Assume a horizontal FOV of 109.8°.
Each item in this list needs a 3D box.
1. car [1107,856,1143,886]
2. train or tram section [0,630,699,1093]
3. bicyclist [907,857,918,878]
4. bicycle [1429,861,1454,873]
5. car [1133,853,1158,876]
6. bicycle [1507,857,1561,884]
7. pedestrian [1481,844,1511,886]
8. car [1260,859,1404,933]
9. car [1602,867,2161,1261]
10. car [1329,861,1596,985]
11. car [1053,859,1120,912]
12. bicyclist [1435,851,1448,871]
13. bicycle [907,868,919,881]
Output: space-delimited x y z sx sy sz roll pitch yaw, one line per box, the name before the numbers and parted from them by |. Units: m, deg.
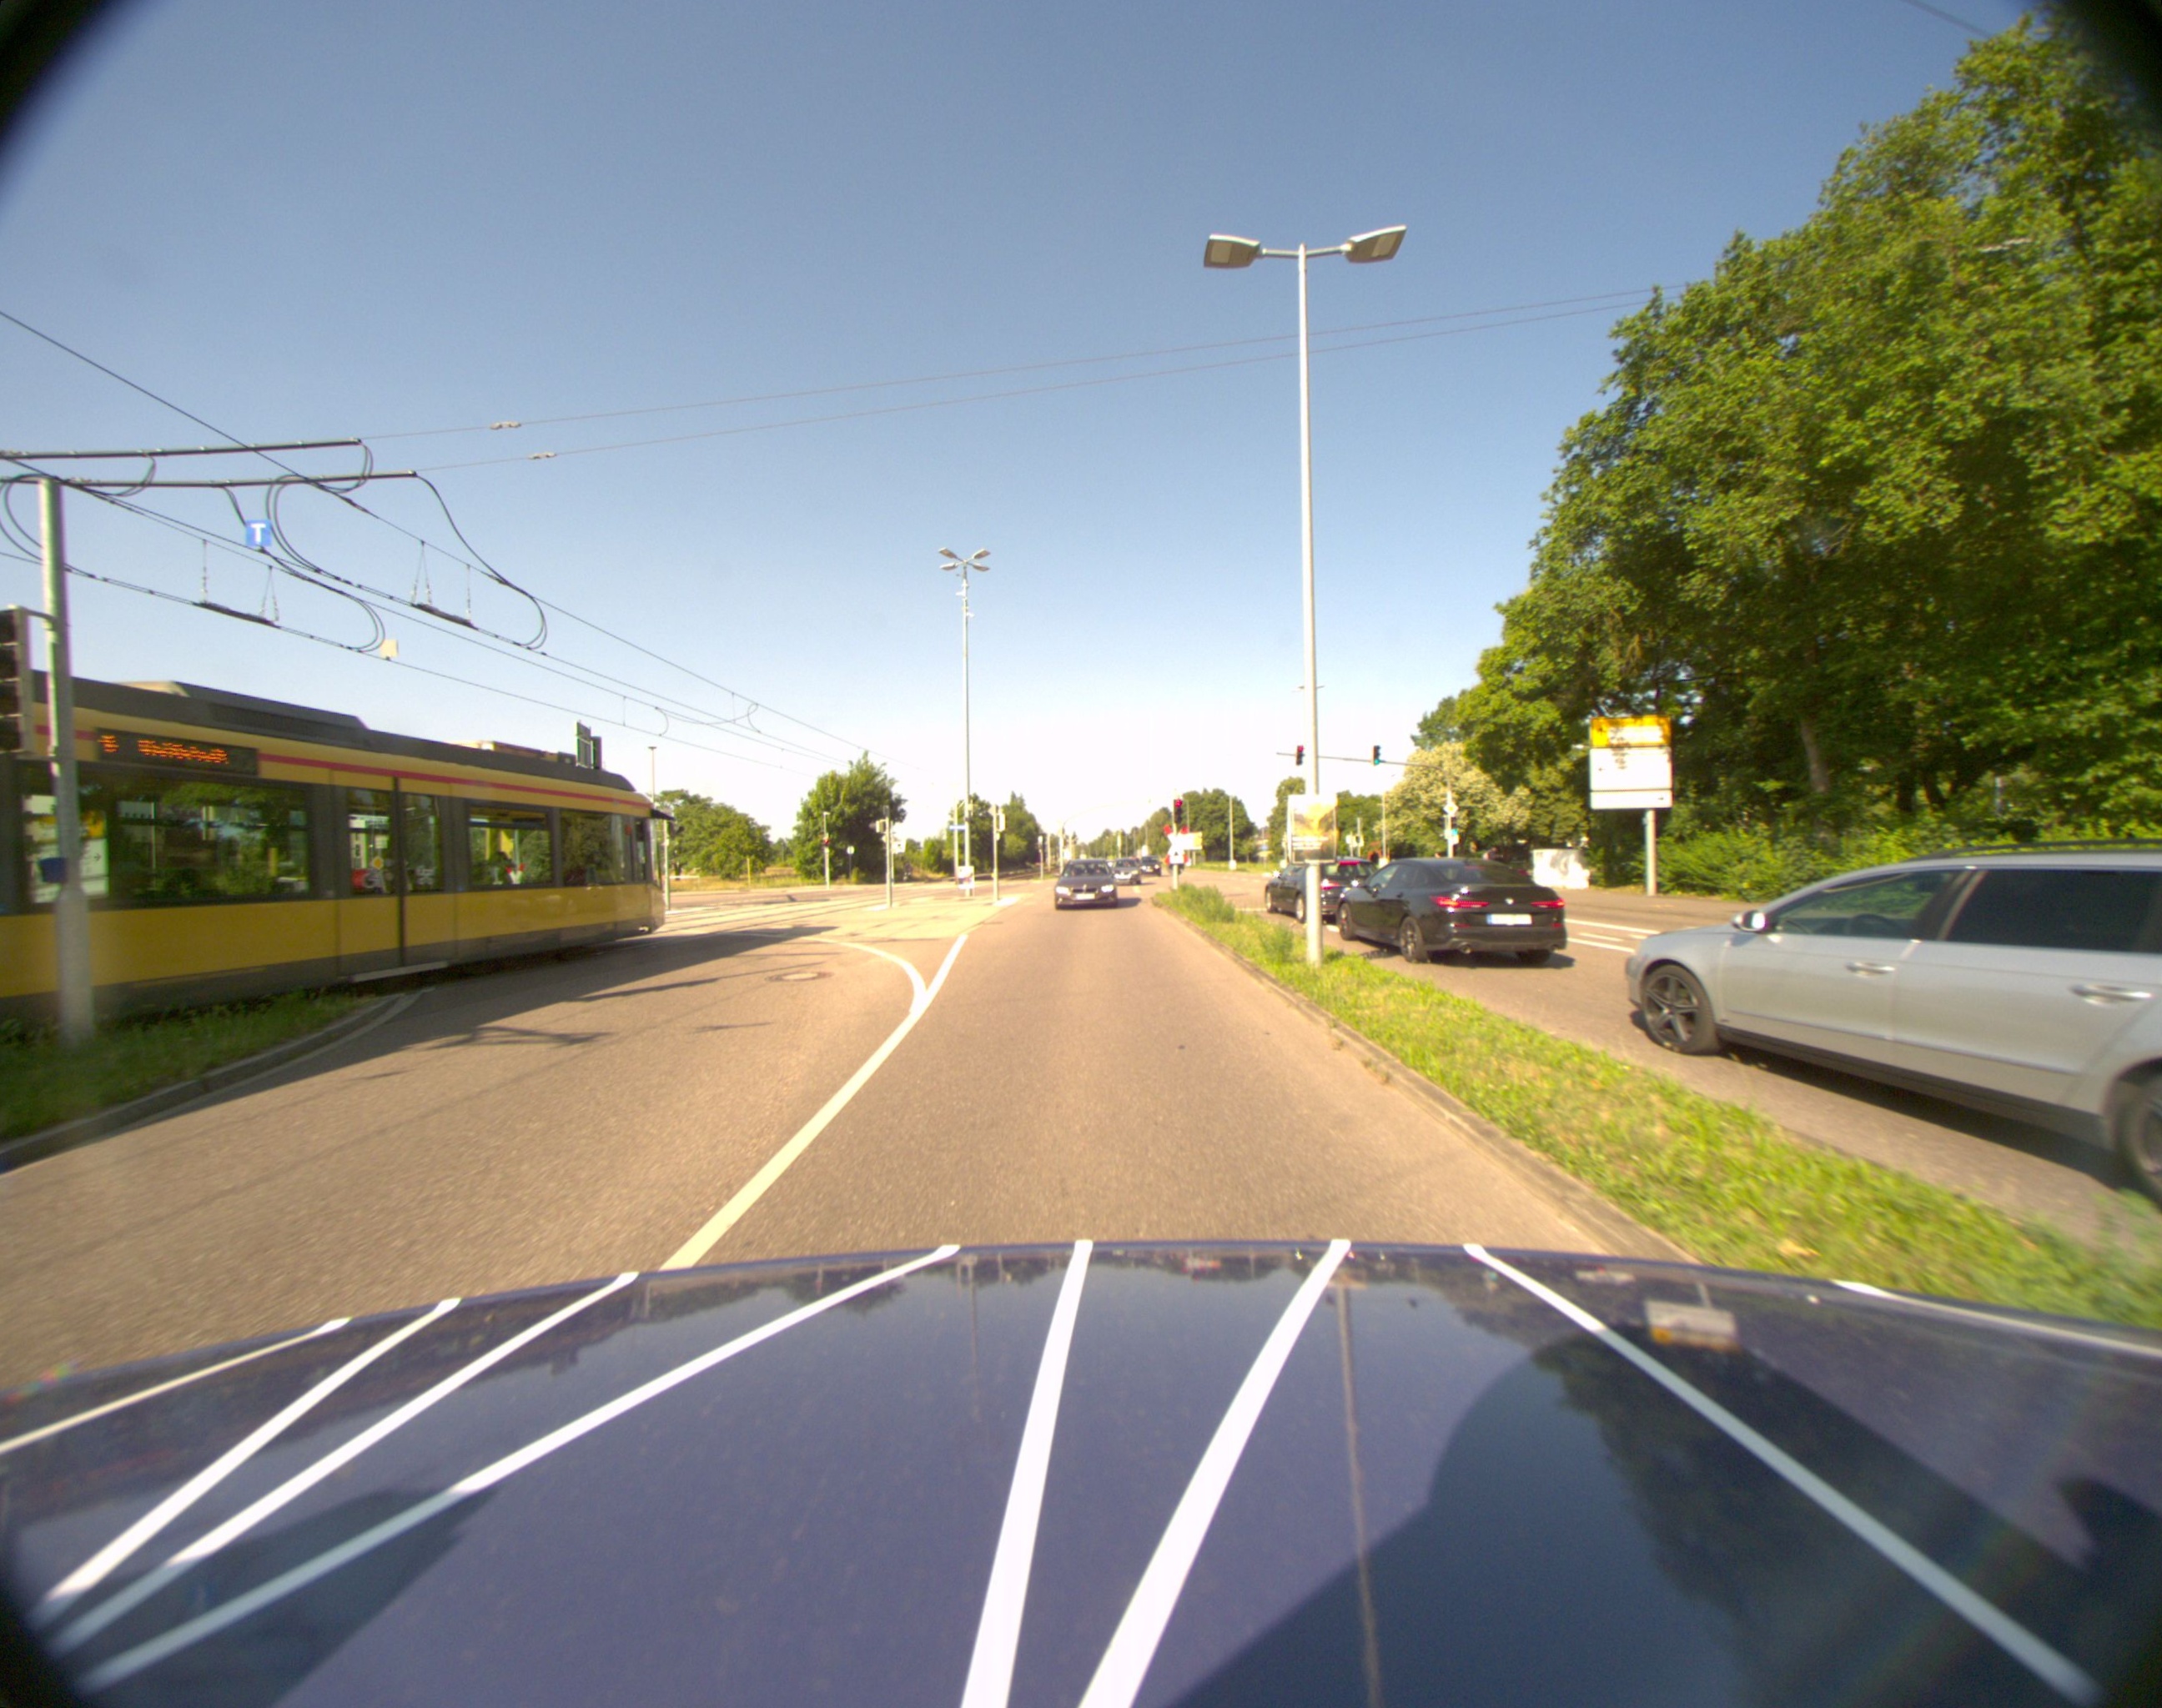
car | 2.405 0.877 41.613 1.820 1.481 4.612 -1 0 3
train or tram section | -9.663 0.058 9.390 2.803 3.597 12.956 -2 1 2
bicyclist | -14.159 1.131 63.920 0.708 1.797 0.718 -1 0 2
bicycle | 28.249 1.011 59.530 1.811 0.898 0.653 -1 0 -20
car | 4.986 0.814 59.100 1.820 1.641 4.612 -2 0 4
bicycle | 19.309 0.686 32.388 1.914 1.112 0.632 -1 0 0
pedestrian | 17.716 0.471 32.460 0.817 1.741 0.932 -1 0 5
car | 5.476 0.840 17.258 1.833 1.423 4.732 0 0 2
car | 5.112 0.840 3.809 1.853 1.469 4.646 0 0 1
car | 5.239 0.834 11.206 1.833 1.426 4.381 0 0 2
car | 0.177 0.887 23.215 1.821 1.416 4.462 -1 0 1
bicyclist | 28.220 0.561 59.525 0.628 1.514 0.617 -2 -1 -20
bicycle | -14.152 1.722 63.898 0.547 1.041 1.874 -1 0 2
